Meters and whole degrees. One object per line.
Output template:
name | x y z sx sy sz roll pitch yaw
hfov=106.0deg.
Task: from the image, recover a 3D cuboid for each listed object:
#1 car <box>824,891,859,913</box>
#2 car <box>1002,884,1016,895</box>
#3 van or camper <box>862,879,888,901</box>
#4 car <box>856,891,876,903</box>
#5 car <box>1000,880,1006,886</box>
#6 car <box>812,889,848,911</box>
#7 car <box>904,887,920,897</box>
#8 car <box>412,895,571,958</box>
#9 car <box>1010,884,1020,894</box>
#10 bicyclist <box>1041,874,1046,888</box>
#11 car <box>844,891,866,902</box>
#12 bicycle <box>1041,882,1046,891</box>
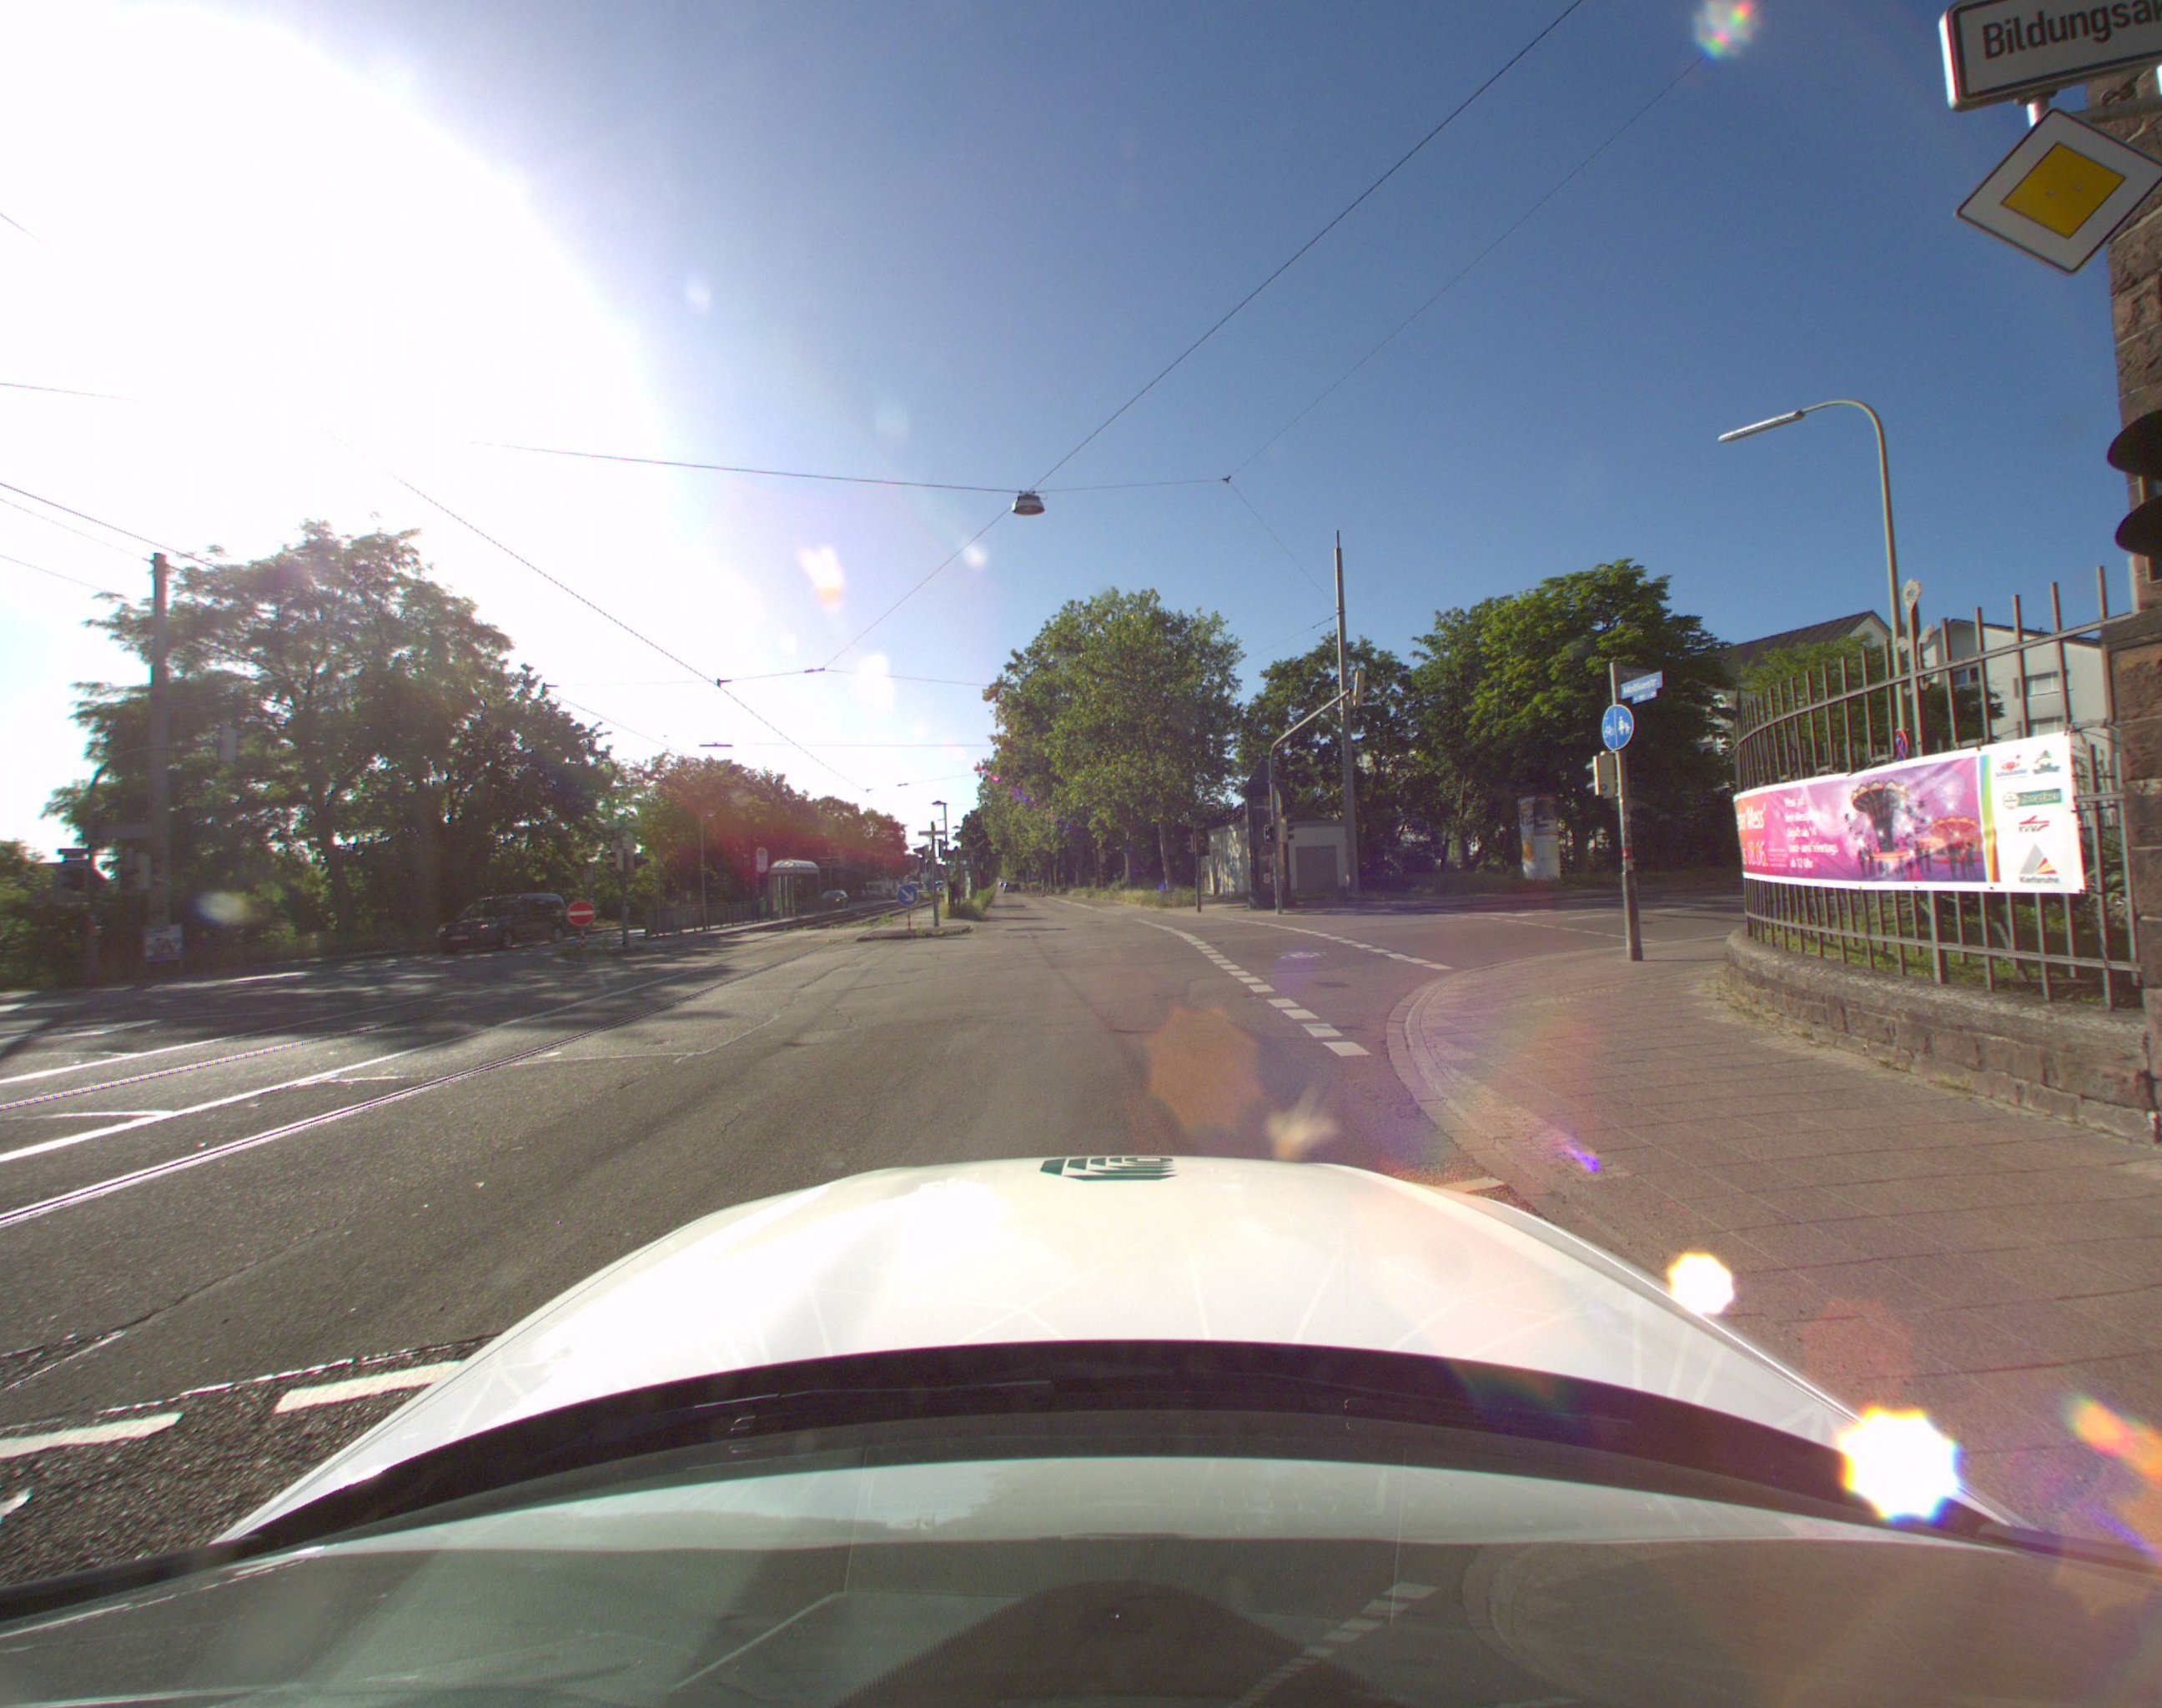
car | -18.298 3.651 62.342 1.803 1.467 3.990 -2 -2 -7
car | -10.623 5.174 119.996 1.865 1.486 3.547 -2 -2 -6
van or camper | -30.156 5.227 119.215 2.586 3.106 6.773 -3 -2 -6
car | -29.582 5.913 112.182 1.917 1.562 3.994 -3 -2 -4
car | -23.466 8.771 244.056 1.749 1.604 3.571 -2 -2 -7
car | -20.659 3.762 67.138 1.917 1.567 3.993 -3 -2 -4
car | -26.034 5.844 125.830 1.992 1.470 4.364 -2 -2 -7
car | -19.095 2.285 26.721 1.992 1.767 5.018 -2 -3 -7
car | -12.149 6.452 150.315 1.748 1.604 3.742 -1 -2 -6
bicyclist | -4.686 3.374 100.932 0.534 1.770 0.711 -2 -2 -8
car | -29.496 5.539 106.375 1.917 1.266 3.993 -3 -2 -4
bicycle | -4.656 3.983 100.936 0.536 1.066 1.429 -2 -2 -8
